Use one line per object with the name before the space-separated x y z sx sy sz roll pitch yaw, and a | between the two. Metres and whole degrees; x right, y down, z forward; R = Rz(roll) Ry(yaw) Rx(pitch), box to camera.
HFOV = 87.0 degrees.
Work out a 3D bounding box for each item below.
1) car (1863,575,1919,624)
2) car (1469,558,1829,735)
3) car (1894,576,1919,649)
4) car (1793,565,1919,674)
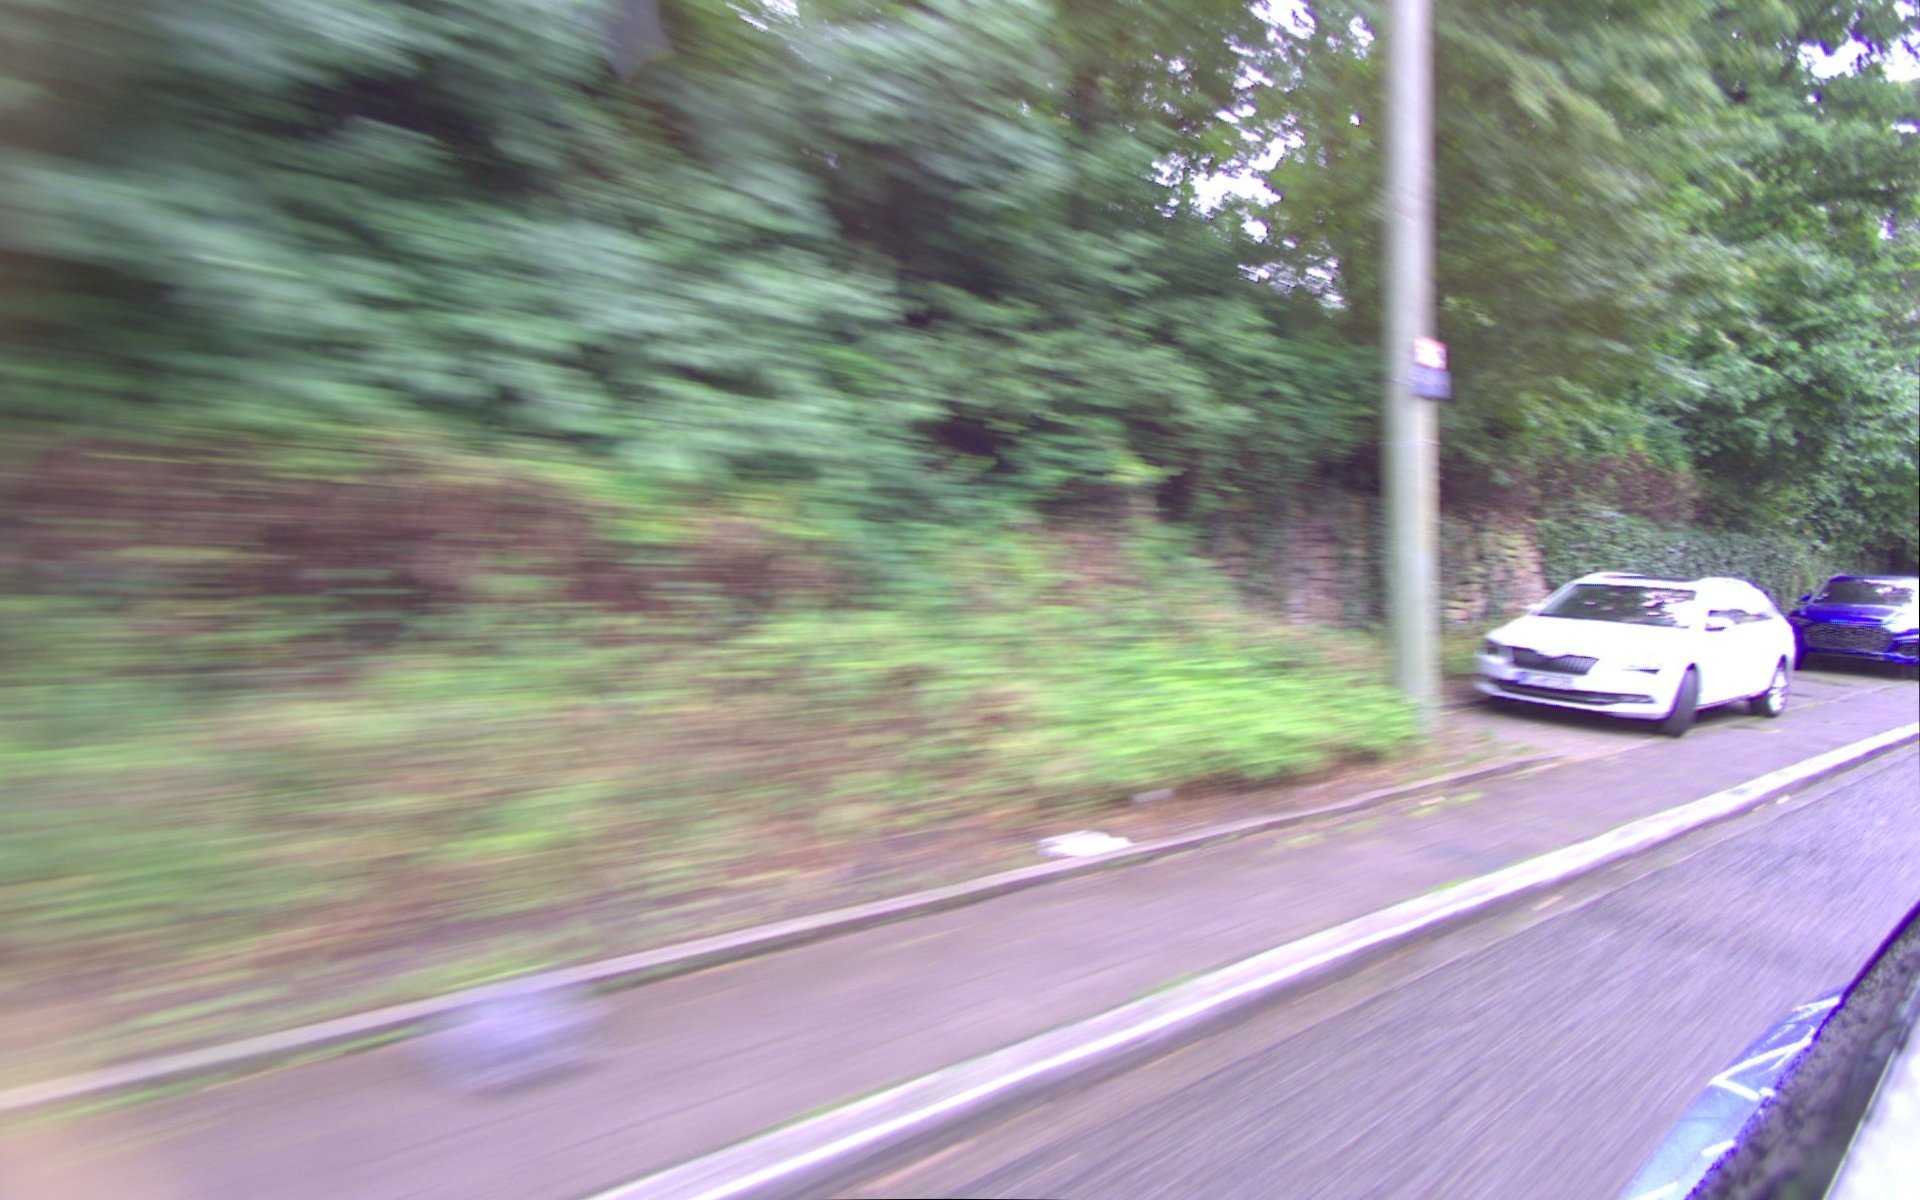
car | 32.425 -0.005 32.999 1.770 1.614 4.195 0 1 -37
car | 7.555 0.364 10.927 4.652 1.495 1.744 0 4 -37
car | 21.783 0.284 21.906 3.826 1.484 1.569 -1 4 -37
car | 16.079 0.245 17.413 4.595 1.643 1.769 -1 3 -39
